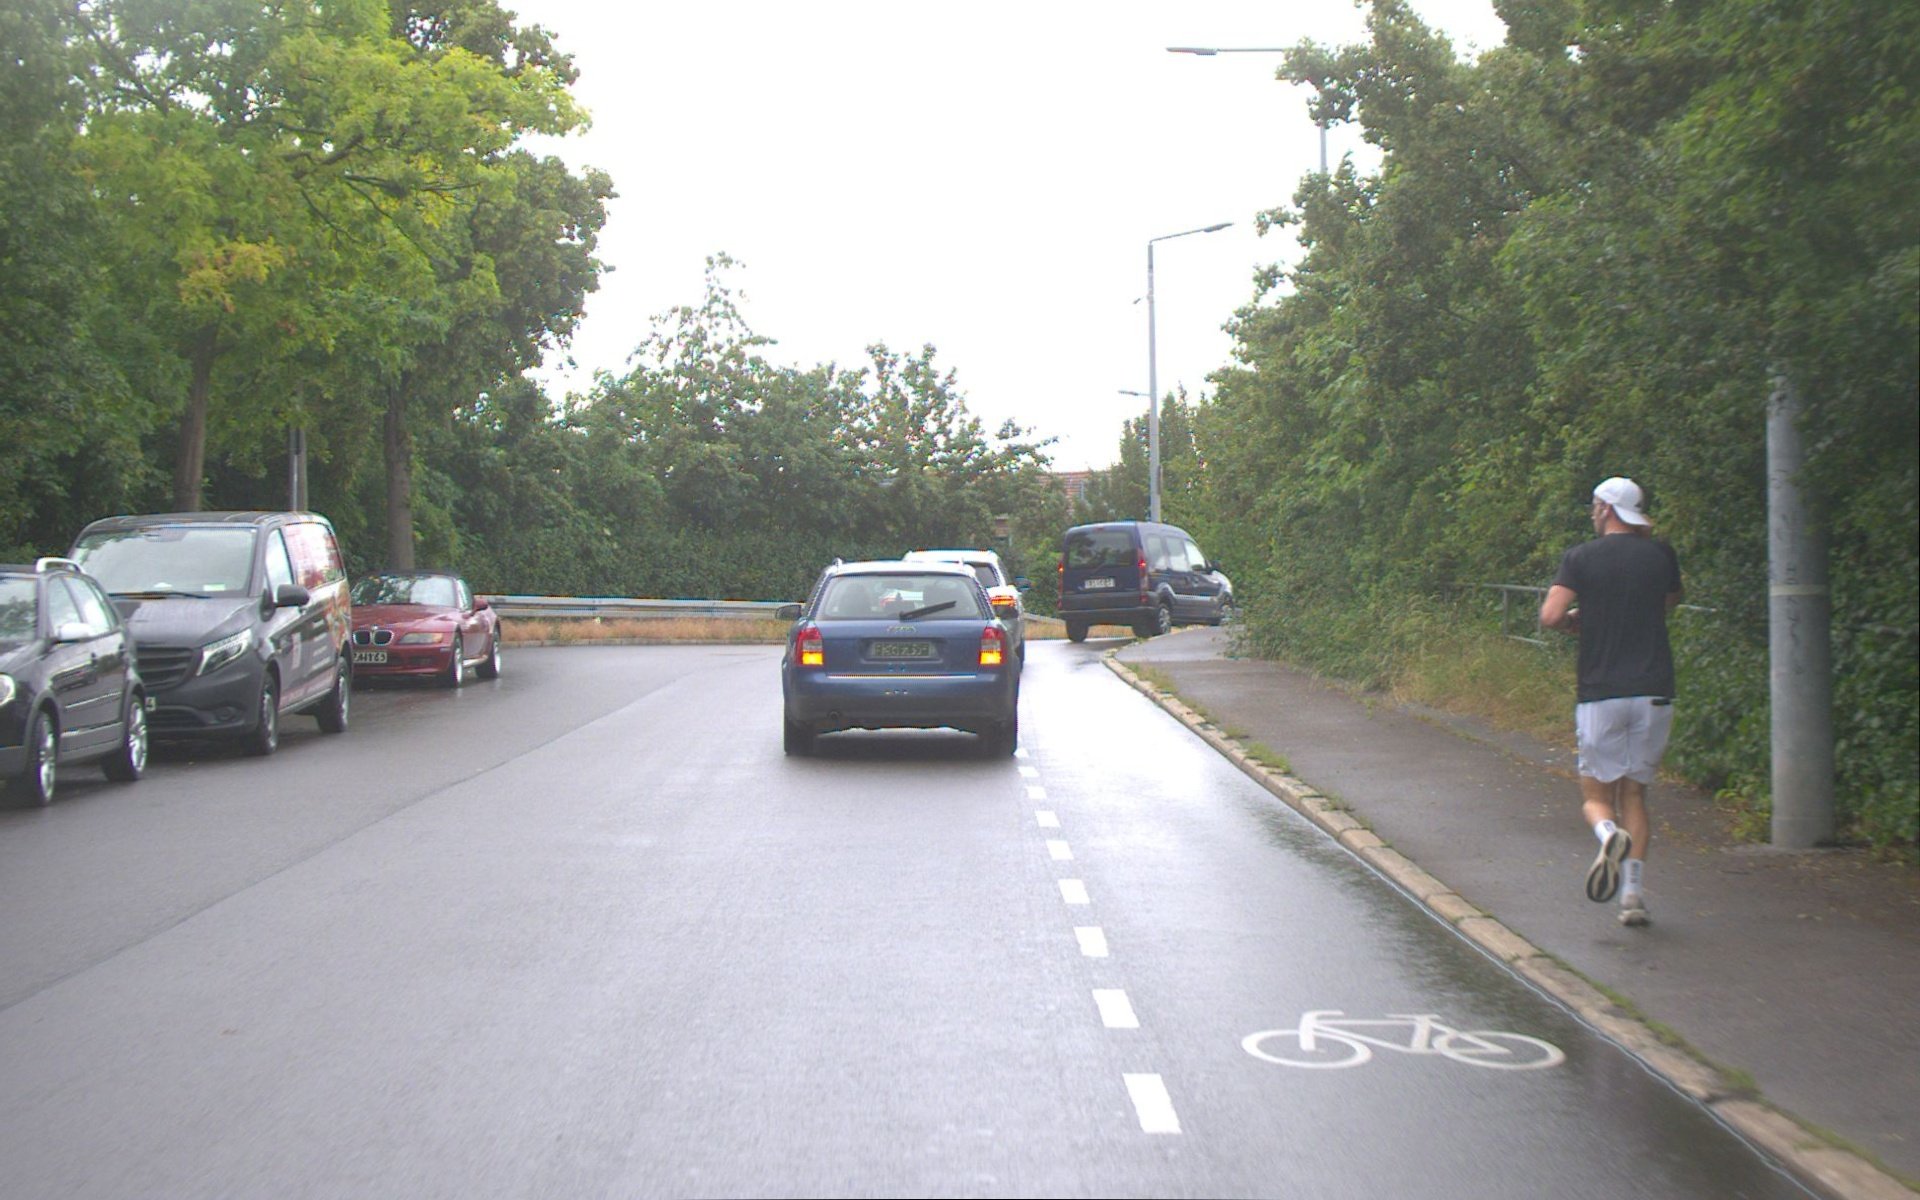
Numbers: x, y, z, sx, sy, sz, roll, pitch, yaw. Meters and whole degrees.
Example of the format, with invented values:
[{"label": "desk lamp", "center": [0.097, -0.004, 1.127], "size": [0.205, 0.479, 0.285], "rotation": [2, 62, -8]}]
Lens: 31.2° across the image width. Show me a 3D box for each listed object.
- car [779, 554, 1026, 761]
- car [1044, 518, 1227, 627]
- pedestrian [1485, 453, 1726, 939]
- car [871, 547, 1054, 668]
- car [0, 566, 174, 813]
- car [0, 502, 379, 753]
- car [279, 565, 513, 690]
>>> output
[{"label": "car", "center": [-0.501, 0.382, 26.390], "size": [1.747, 1.402, 4.001], "rotation": [0, 2, -3]}, {"label": "car", "center": [2.809, -0.456, 54.251], "size": [1.823, 1.611, 3.782], "rotation": [-2, 1, 20]}, {"label": "pedestrian", "center": [2.546, 0.359, 13.652], "size": [0.717, 1.828, 1.021], "rotation": [-2, 1, 2]}, {"label": "car", "center": [0.081, 0.071, 42.330], "size": [1.891, 1.384, 3.999], "rotation": [-1, 0, 5]}, {"label": "car", "center": [-6.425, 0.518, 22.149], "size": [1.797, 1.432, 4.256], "rotation": [-1, 1, -1]}, {"label": "car", "center": [-6.285, 0.177, 28.118], "size": [2.083, 1.813, 5.381], "rotation": [-1, 1, 0]}, {"label": "car", "center": [-6.351, 0.273, 39.158], "size": [1.789, 1.292, 4.325], "rotation": [-1, 1, 2]}]
